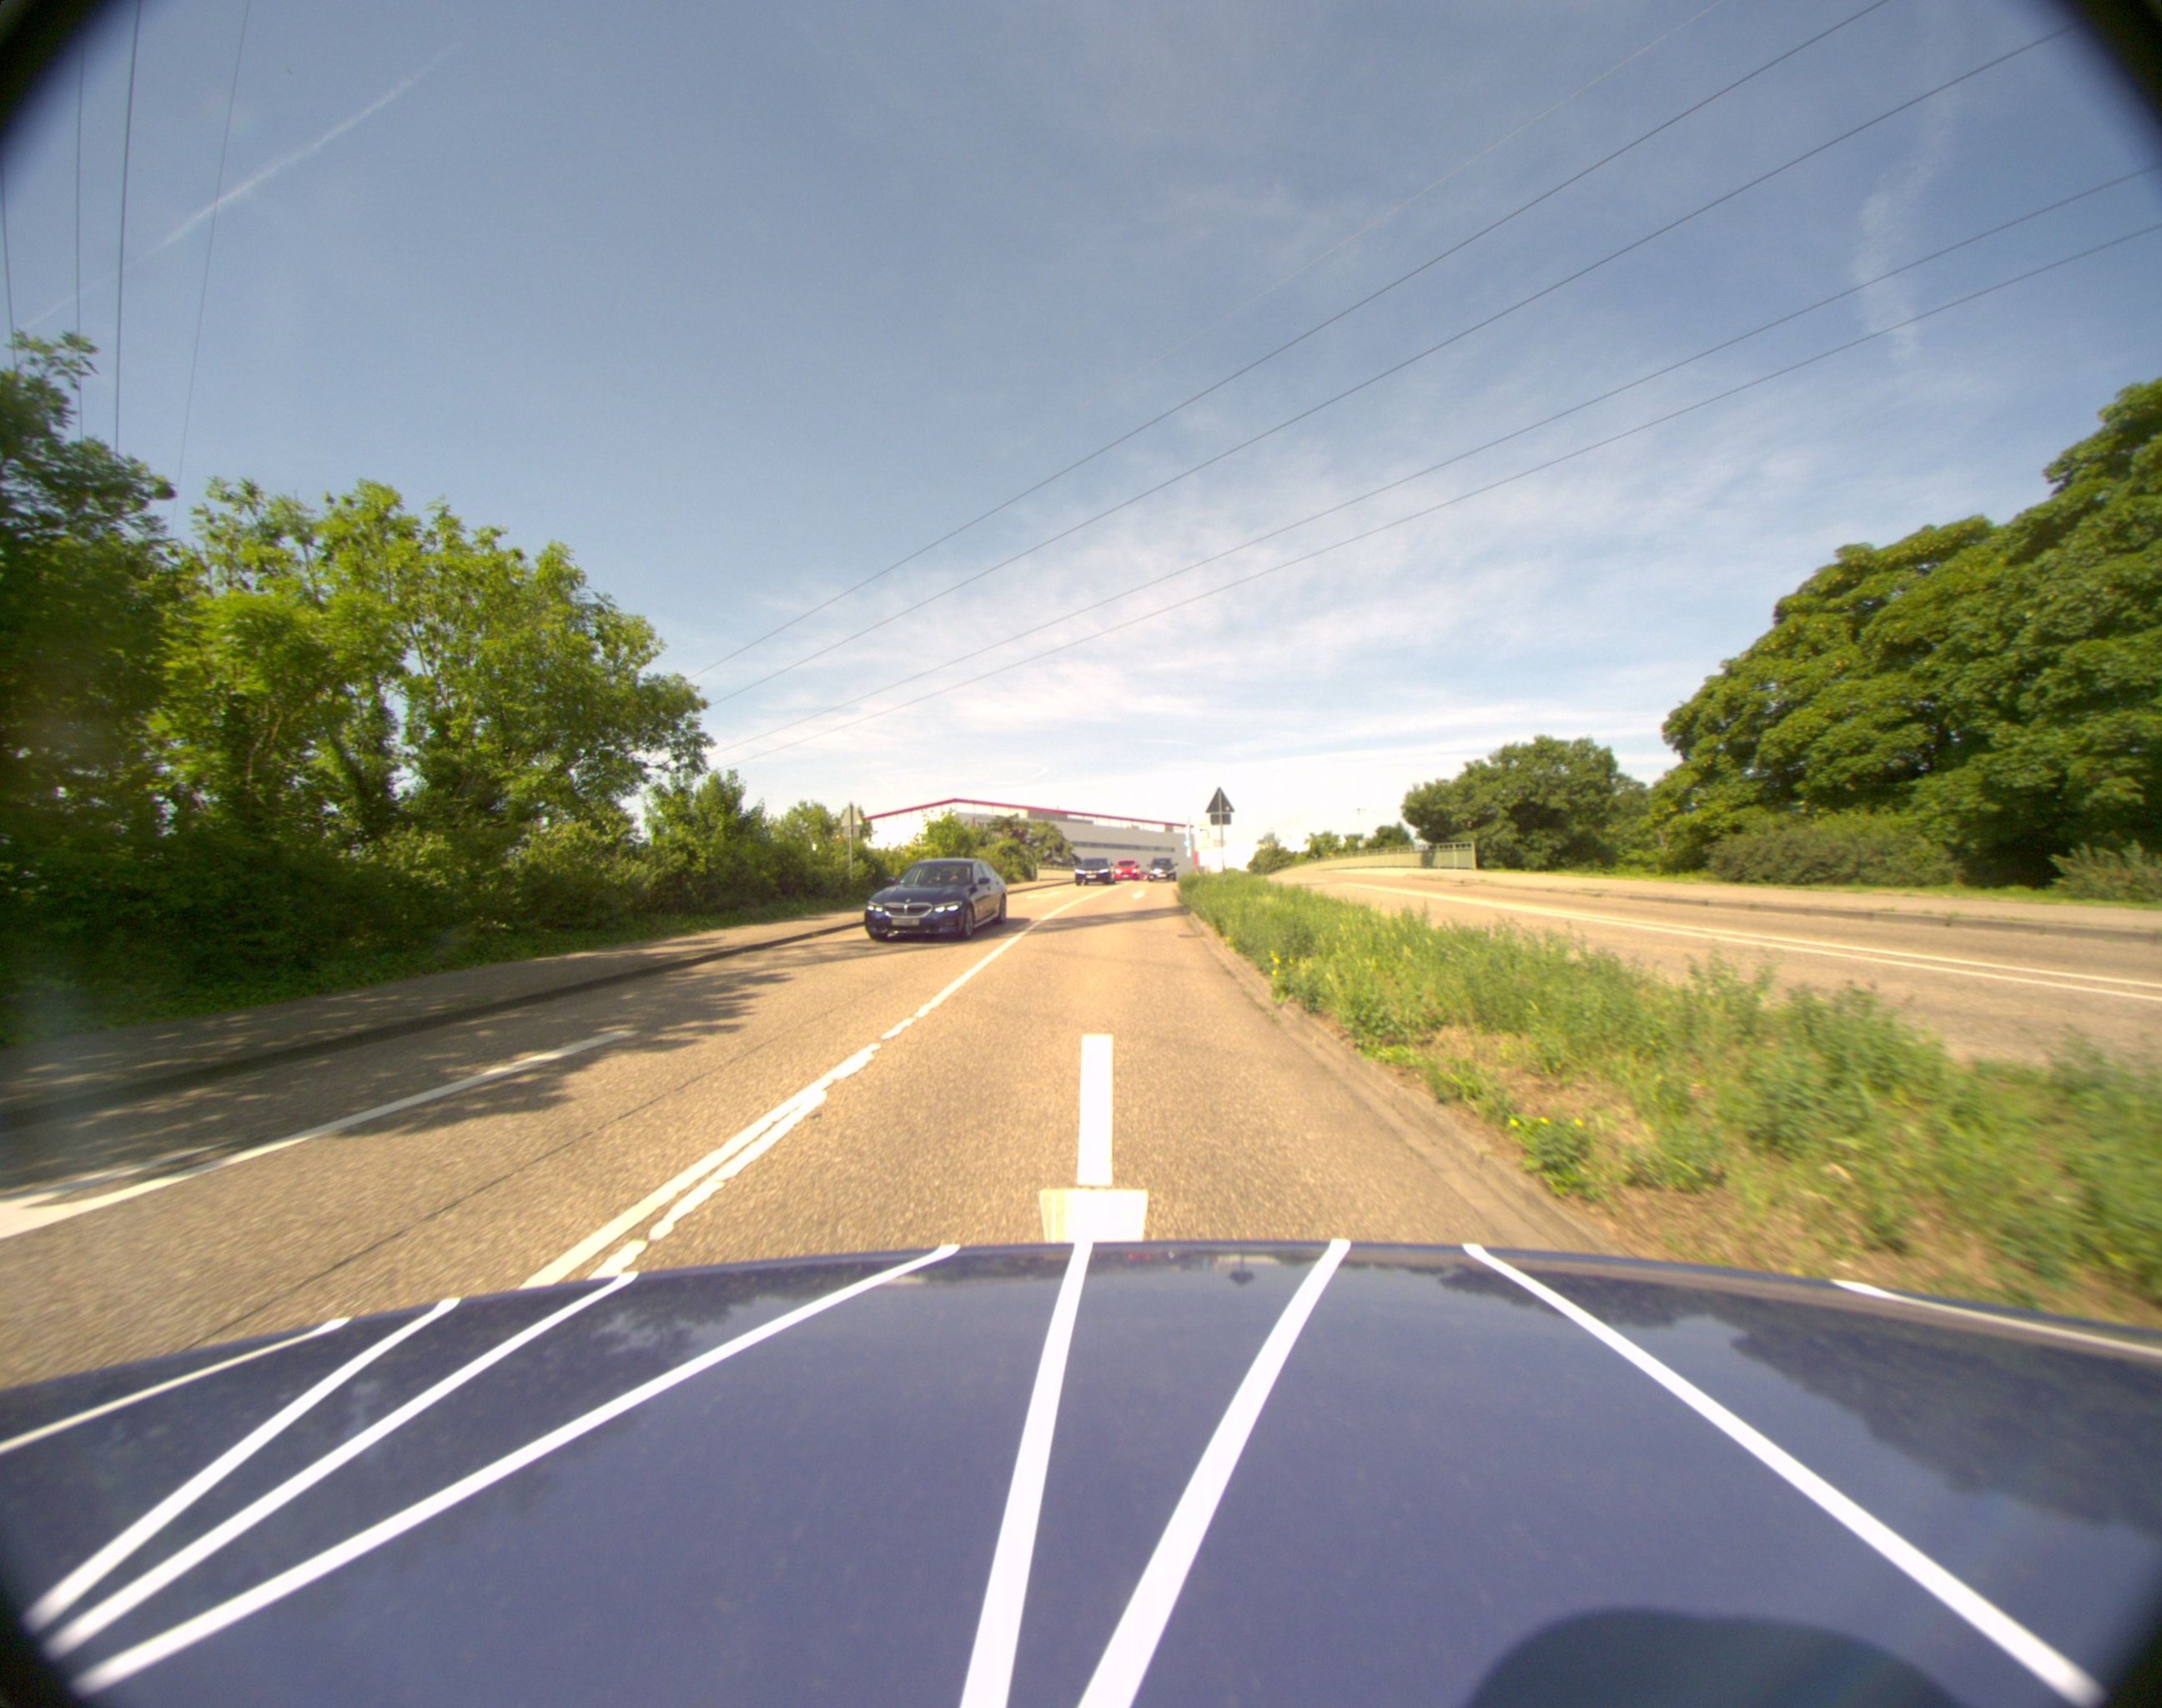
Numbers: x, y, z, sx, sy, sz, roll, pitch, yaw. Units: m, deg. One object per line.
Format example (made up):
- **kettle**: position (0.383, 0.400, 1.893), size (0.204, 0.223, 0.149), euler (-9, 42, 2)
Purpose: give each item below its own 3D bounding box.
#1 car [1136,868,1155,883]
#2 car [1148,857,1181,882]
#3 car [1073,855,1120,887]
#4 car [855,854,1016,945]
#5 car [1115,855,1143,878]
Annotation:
- **car**: position (7.250, 2.437, 85.594), size (1.776, 1.648, 4.148), euler (-1, -2, 9)
- **car**: position (5.139, 0.949, 46.597), size (1.848, 1.410, 4.003), euler (-1, 0, 8)
- **car**: position (0.875, 0.904, 40.320), size (1.860, 1.520, 4.148), euler (-3, -2, 8)
- **car**: position (-2.676, 0.896, 15.085), size (1.791, 1.474, 4.525), euler (-3, -3, 7)
- **car**: position (4.309, 1.178, 67.580), size (1.987, 1.895, 4.148), euler (-3, -2, 9)
